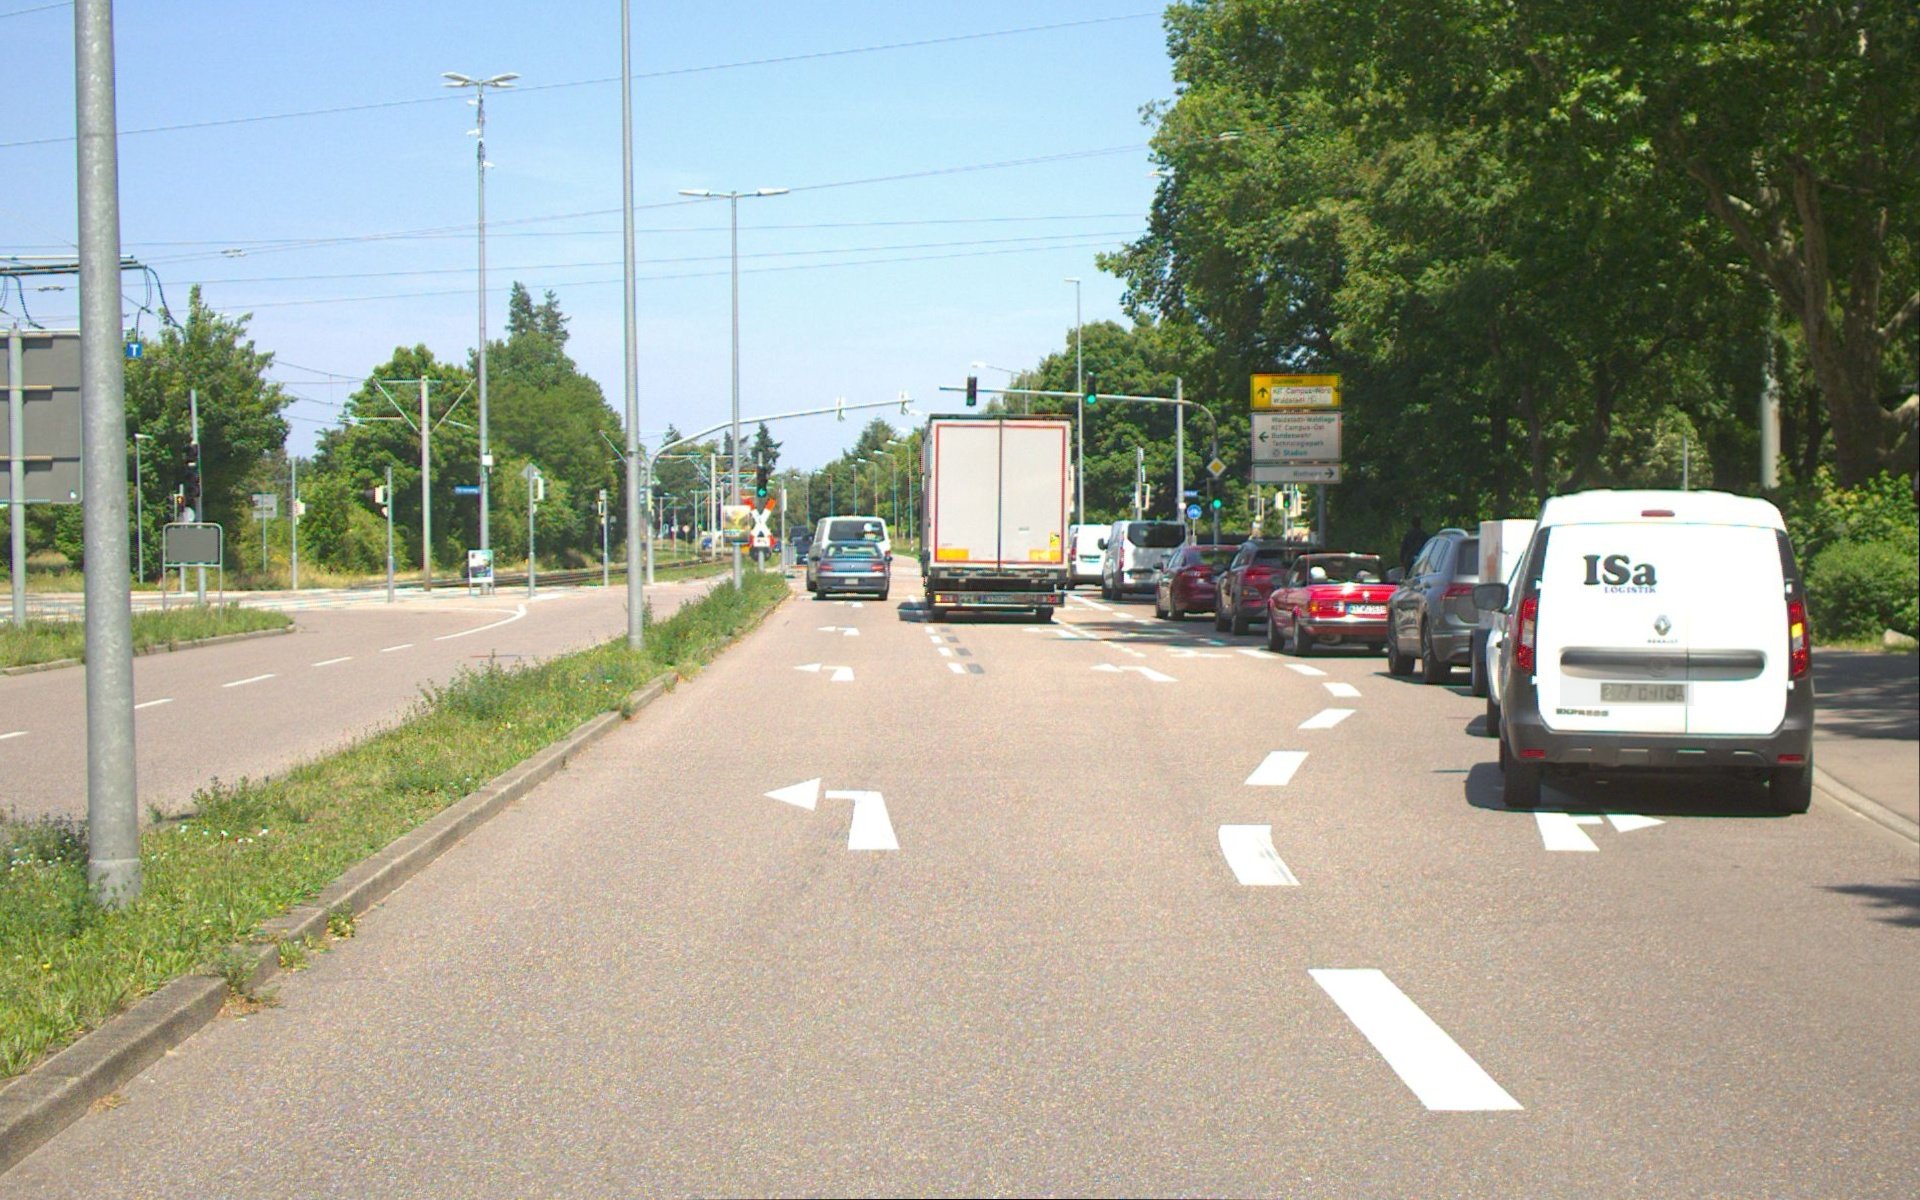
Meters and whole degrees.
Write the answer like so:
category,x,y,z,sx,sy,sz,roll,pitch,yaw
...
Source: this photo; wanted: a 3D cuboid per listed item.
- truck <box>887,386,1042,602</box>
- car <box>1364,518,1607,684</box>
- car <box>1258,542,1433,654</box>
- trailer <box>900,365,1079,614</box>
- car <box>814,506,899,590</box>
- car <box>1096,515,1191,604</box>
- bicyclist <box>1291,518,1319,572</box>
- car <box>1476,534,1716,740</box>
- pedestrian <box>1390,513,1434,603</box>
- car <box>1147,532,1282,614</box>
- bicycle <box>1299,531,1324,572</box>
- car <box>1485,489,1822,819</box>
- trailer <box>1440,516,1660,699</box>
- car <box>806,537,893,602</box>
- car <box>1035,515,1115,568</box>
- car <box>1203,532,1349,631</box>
category,x,y,z,sx,sy,sz,roll,pitch,yaw
truck,0.002,-2.308,74.392,2.827,4.329,8.286,2,2,-3
car,5.554,-0.040,36.838,1.699,1.648,4.399,1,1,-3
car,5.137,-0.062,46.272,1.654,1.392,4.268,1,1,-3
trailer,0.447,-2.071,65.825,2.827,4.406,8.751,1,1,-3
car,-2.733,-1.385,89.806,1.993,2.103,4.749,0,2,-4
car,4.473,-1.016,84.324,1.890,2.114,3.888,1,1,-3
bicyclist,11.264,-1.785,112.225,0.802,1.721,0.679,-3,1,10
car,5.026,0.235,27.431,1.721,1.483,3.877,1,1,9
pedestrian,9.224,-0.867,70.183,0.753,1.809,0.693,-1,1,-2
car,4.932,-0.555,67.131,1.993,1.498,4.503,0,2,-4
bicycle,11.457,-1.597,112.097,0.644,1.300,1.625,-3,1,10
car,4.066,0.241,20.717,1.710,1.741,4.426,1,1,8
trailer,5.654,0.038,33.206,1.468,1.663,2.856,1,1,-3
car,-2.610,-0.743,82.036,1.892,1.367,4.430,4,1,-1
car,3.278,-1.699,98.713,1.993,1.432,4.252,0,2,-2
car,5.194,-0.332,57.024,1.858,1.544,3.888,1,1,-3
